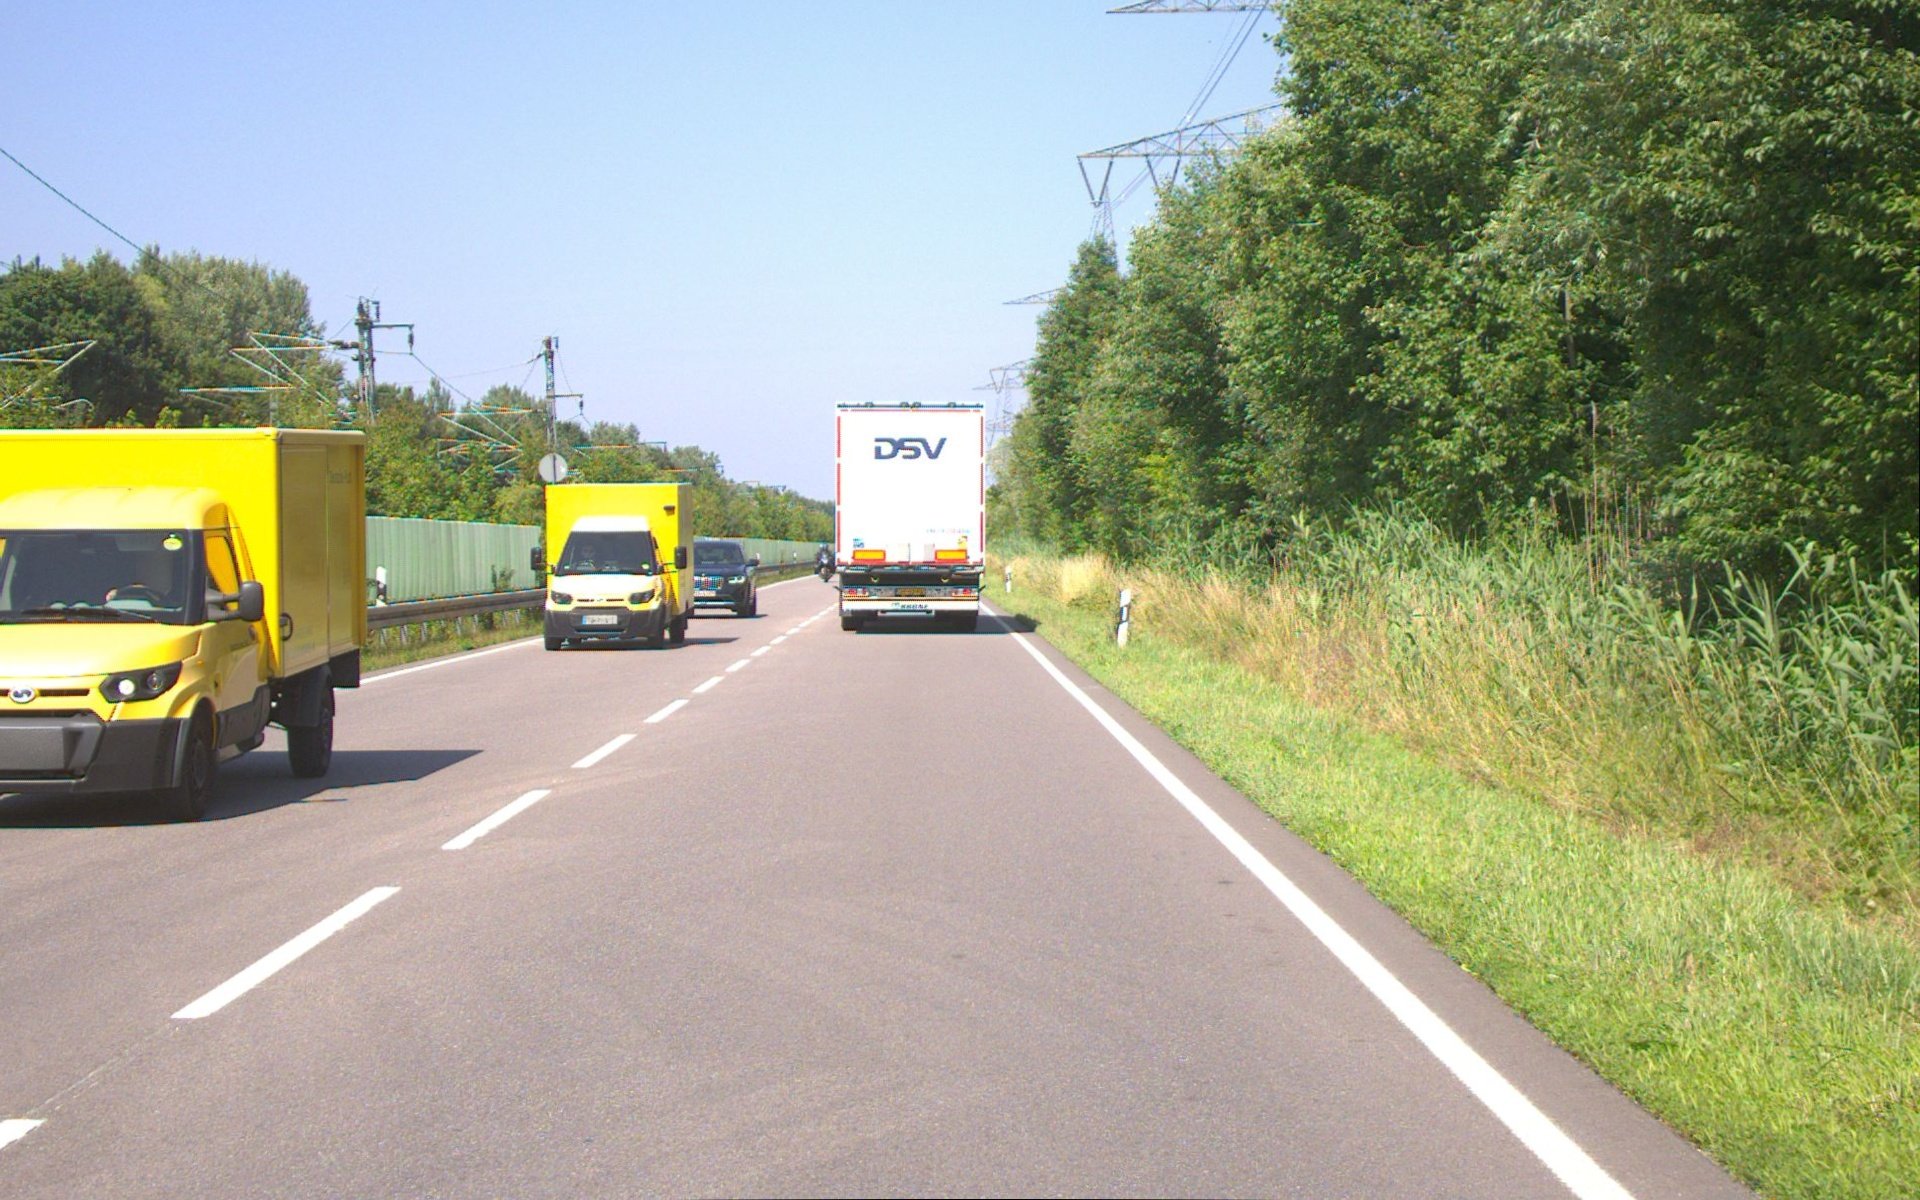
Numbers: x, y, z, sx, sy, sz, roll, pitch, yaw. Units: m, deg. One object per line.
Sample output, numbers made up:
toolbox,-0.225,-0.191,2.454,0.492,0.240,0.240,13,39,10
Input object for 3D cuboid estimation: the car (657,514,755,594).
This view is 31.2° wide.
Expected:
car,-5.488,-1.013,74.714,1.814,1.688,4.706,0,1,-1

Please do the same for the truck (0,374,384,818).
truck,-5.039,-0.077,21.130,1.993,2.340,6.012,0,1,0

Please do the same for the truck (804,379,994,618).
truck,-1.140,-1.814,64.081,3.192,4.029,12.008,0,1,-1

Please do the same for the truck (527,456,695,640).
truck,-5.224,-0.802,52.156,2.080,2.637,5.705,0,1,-1
